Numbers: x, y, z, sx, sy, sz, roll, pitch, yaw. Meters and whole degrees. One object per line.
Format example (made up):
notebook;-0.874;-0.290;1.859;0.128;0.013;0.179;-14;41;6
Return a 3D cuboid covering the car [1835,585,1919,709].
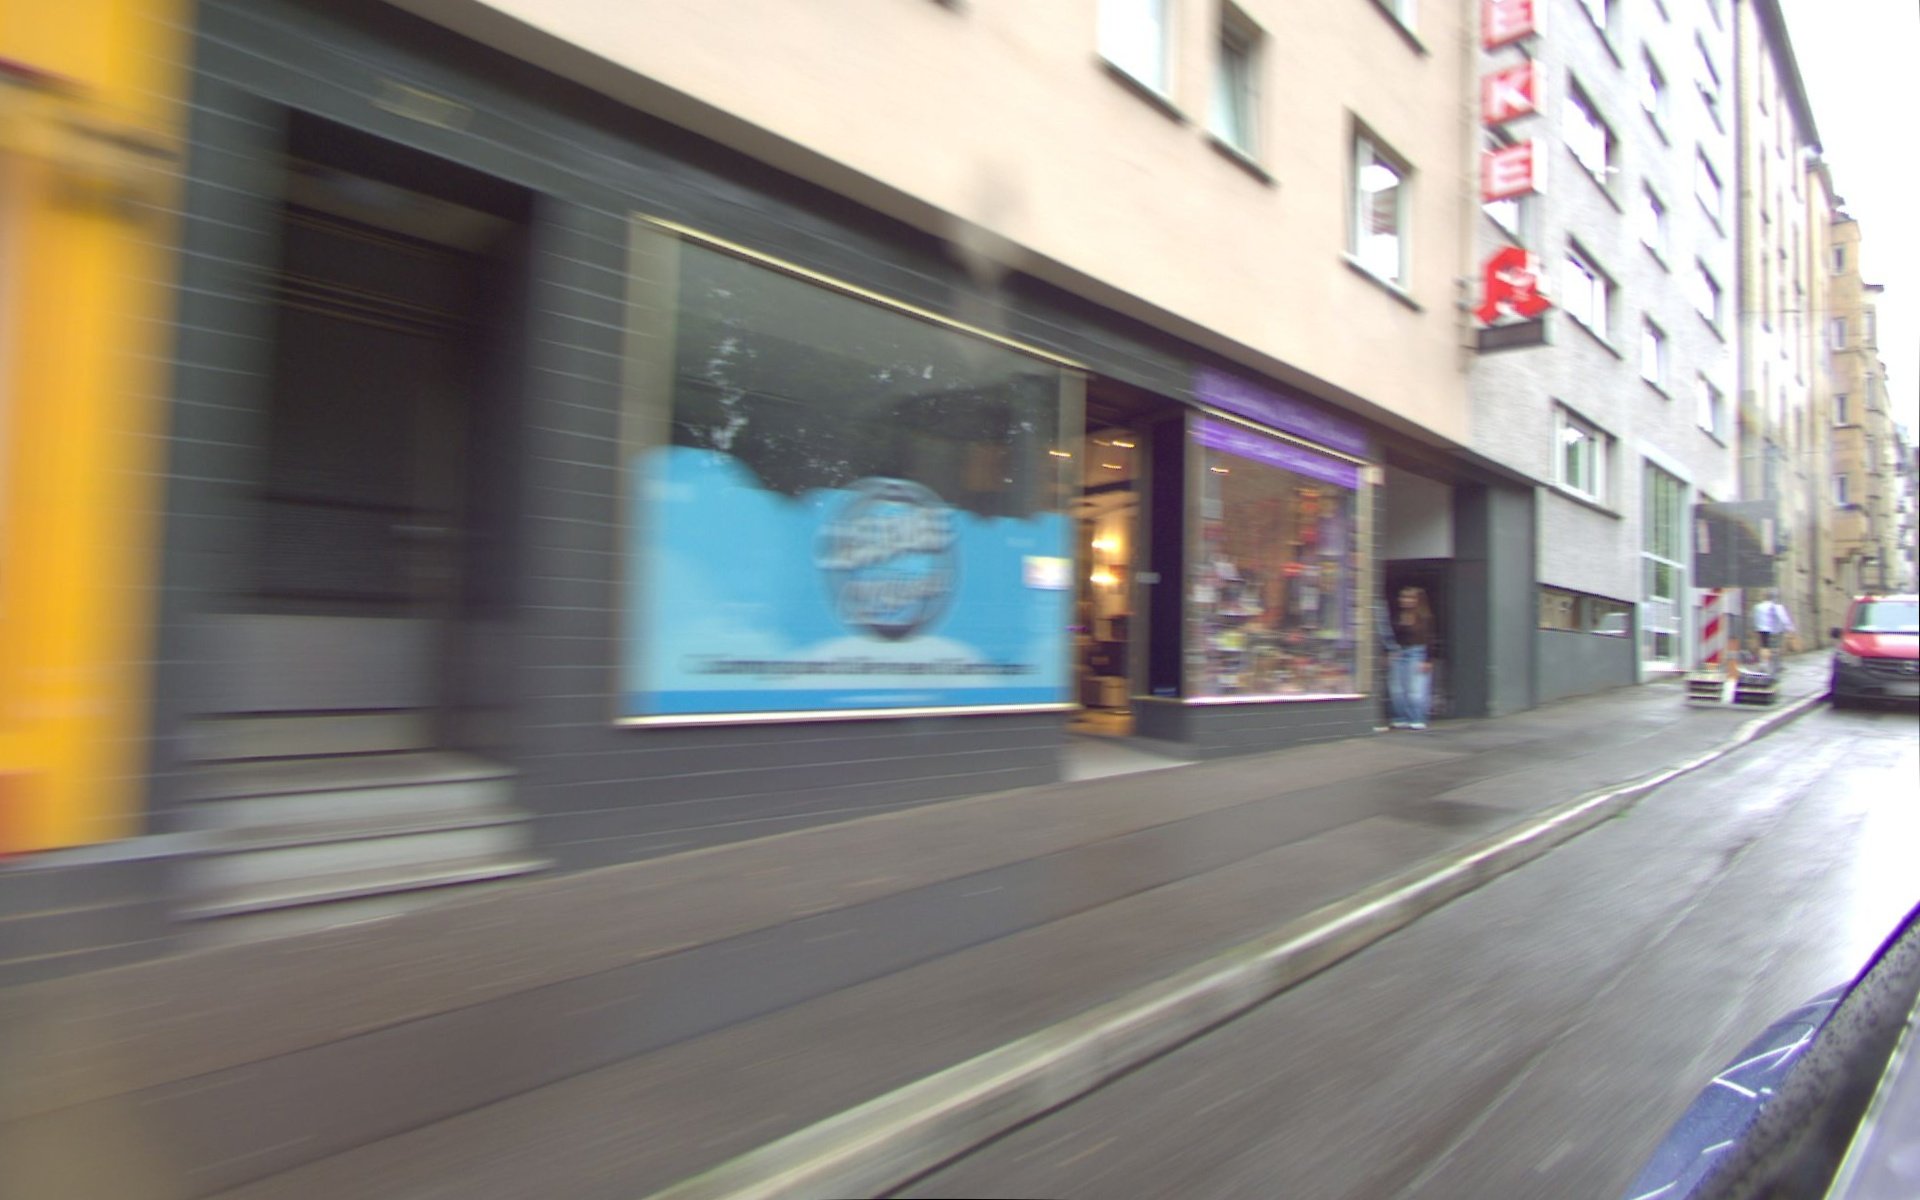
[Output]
car;16.123;0.741;16.934;1.975;1.861;5.161;0;-1;44

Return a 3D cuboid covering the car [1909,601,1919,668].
car;27.224;0.971;27.556;4.423;1.730;1.767;2;-2;-43

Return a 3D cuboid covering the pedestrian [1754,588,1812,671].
pedestrian;18.203;0.650;22.389;0.823;1.780;0.852;2;-3;-43

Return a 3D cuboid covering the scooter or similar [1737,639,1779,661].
scooter or similar;20.492;1.275;25.994;0.252;0.513;0.862;1;0;-13

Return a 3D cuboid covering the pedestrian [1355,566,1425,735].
pedestrian;4.589;0.525;10.810;0.506;1.742;0.462;1;-2;-35

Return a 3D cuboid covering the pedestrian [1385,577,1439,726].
pedestrian;5.173;0.580;11.586;0.480;1.666;0.326;-1;-3;40
